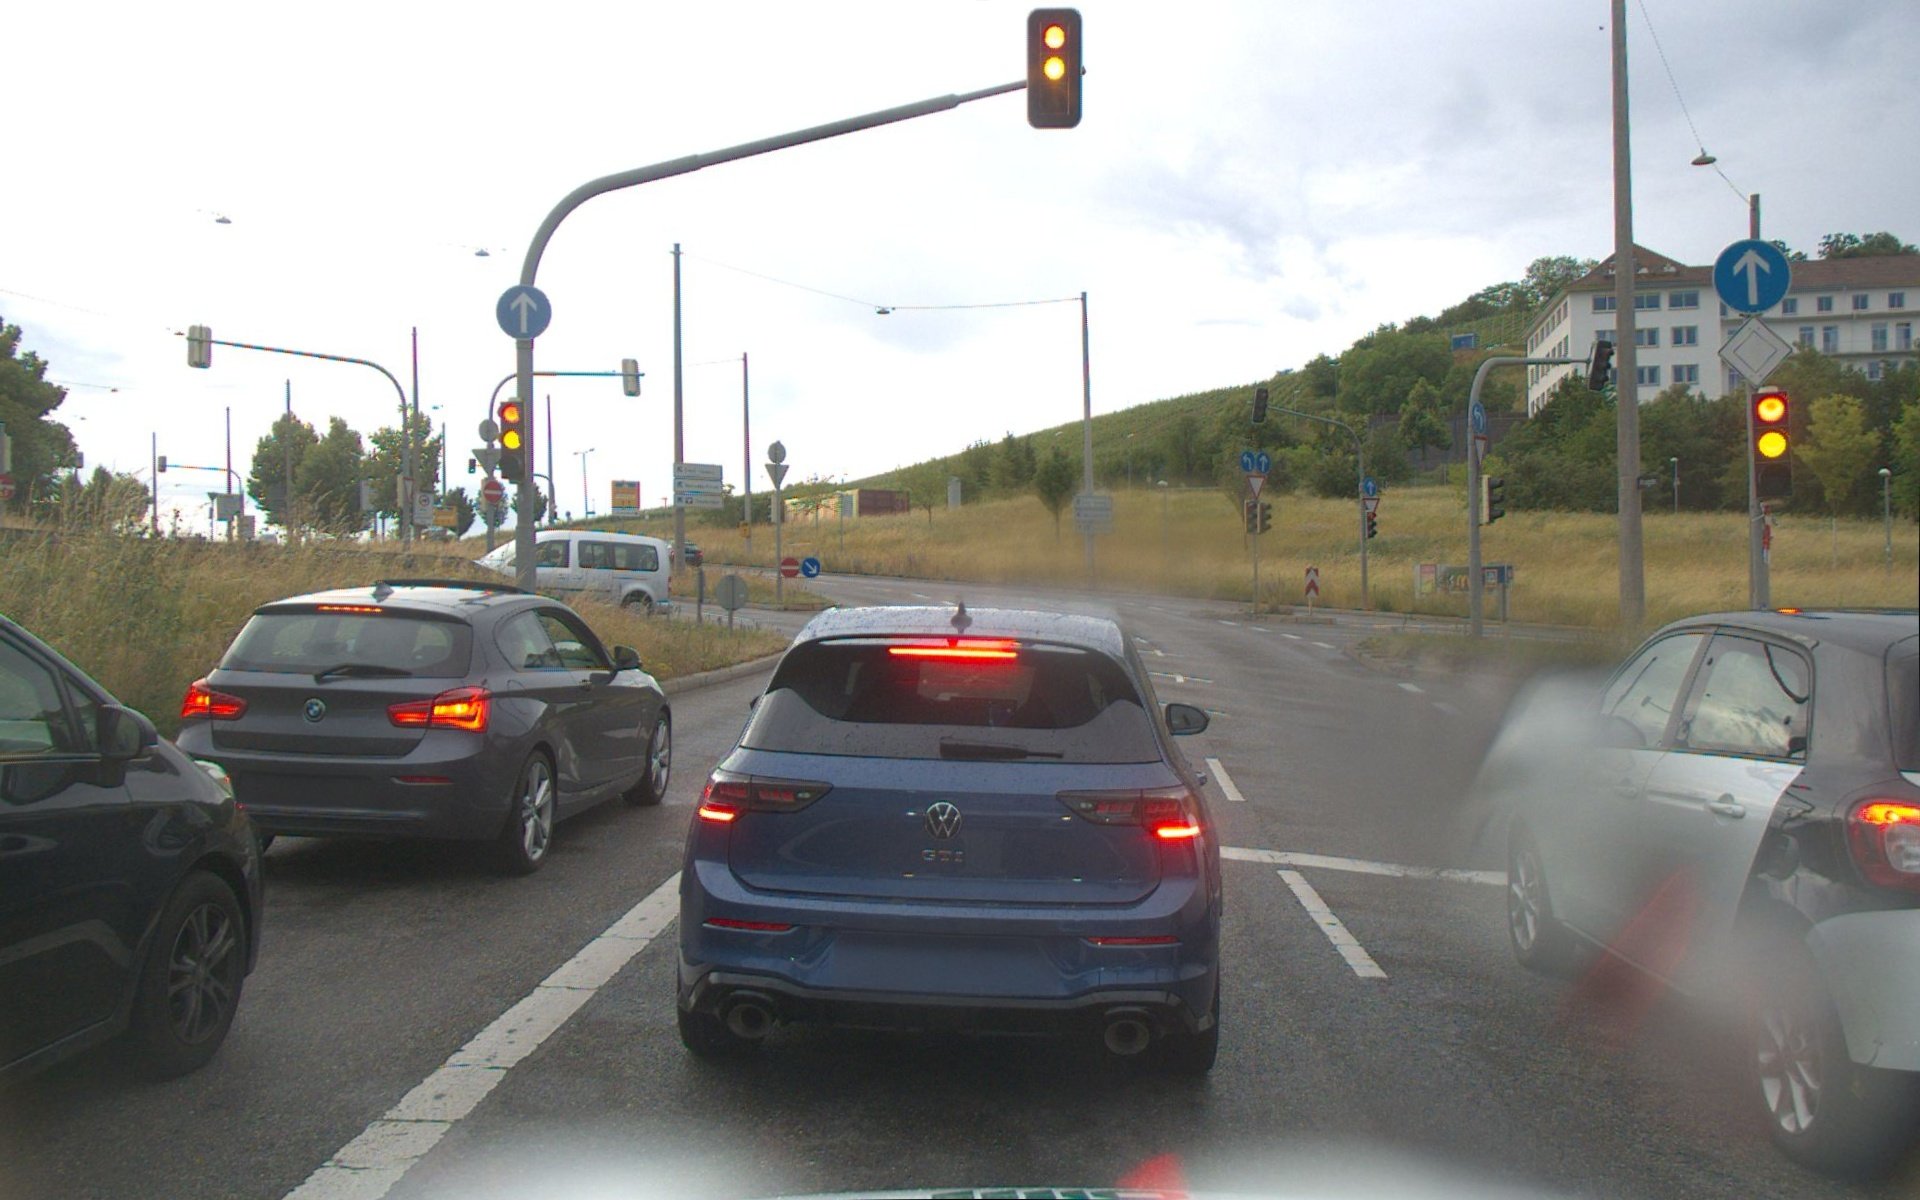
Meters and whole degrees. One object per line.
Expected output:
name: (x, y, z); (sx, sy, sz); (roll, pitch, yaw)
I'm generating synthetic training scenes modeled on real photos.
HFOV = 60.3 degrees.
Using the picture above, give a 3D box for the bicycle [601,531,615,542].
bicycle: (-25.957, -4.709, 121.959); (0.513, 0.788, 1.602); (2, 0, -33)

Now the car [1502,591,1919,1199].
car: (3.190, 0.775, 5.753); (1.623, 1.529, 3.452); (1, -1, 3)

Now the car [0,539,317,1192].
car: (-3.042, 0.602, 3.694); (1.608, 1.530, 3.779); (2, 1, 2)

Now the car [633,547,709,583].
car: (-14.310, -1.733, 81.690); (1.975, 1.646, 4.797); (1, 1, -33)

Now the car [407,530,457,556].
car: (-37.377, -4.002, 117.018); (1.979, 1.665, 4.362); (1, -1, -37)

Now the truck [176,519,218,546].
truck: (-94.760, -8.387, 205.389); (3.235, 3.128, 6.093); (4, 0, -38)

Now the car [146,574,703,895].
car: (-2.829, 0.605, 9.767); (1.667, 1.485, 4.117); (0, 0, 5)

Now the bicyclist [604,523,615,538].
bicyclist: (-25.795, -5.085, 121.773); (0.518, 1.065, 0.574); (4, 0, -34)

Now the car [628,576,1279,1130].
car: (0.121, 0.681, 6.458); (1.786, 1.486, 3.810); (1, 0, 4)

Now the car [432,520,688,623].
car: (-7.933, -0.516, 33.013); (4.645, 1.882, 1.799); (1, -1, -36)

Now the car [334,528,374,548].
car: (-50.801, -5.180, 138.644); (1.978, 1.503, 4.446); (1, -1, -36)
